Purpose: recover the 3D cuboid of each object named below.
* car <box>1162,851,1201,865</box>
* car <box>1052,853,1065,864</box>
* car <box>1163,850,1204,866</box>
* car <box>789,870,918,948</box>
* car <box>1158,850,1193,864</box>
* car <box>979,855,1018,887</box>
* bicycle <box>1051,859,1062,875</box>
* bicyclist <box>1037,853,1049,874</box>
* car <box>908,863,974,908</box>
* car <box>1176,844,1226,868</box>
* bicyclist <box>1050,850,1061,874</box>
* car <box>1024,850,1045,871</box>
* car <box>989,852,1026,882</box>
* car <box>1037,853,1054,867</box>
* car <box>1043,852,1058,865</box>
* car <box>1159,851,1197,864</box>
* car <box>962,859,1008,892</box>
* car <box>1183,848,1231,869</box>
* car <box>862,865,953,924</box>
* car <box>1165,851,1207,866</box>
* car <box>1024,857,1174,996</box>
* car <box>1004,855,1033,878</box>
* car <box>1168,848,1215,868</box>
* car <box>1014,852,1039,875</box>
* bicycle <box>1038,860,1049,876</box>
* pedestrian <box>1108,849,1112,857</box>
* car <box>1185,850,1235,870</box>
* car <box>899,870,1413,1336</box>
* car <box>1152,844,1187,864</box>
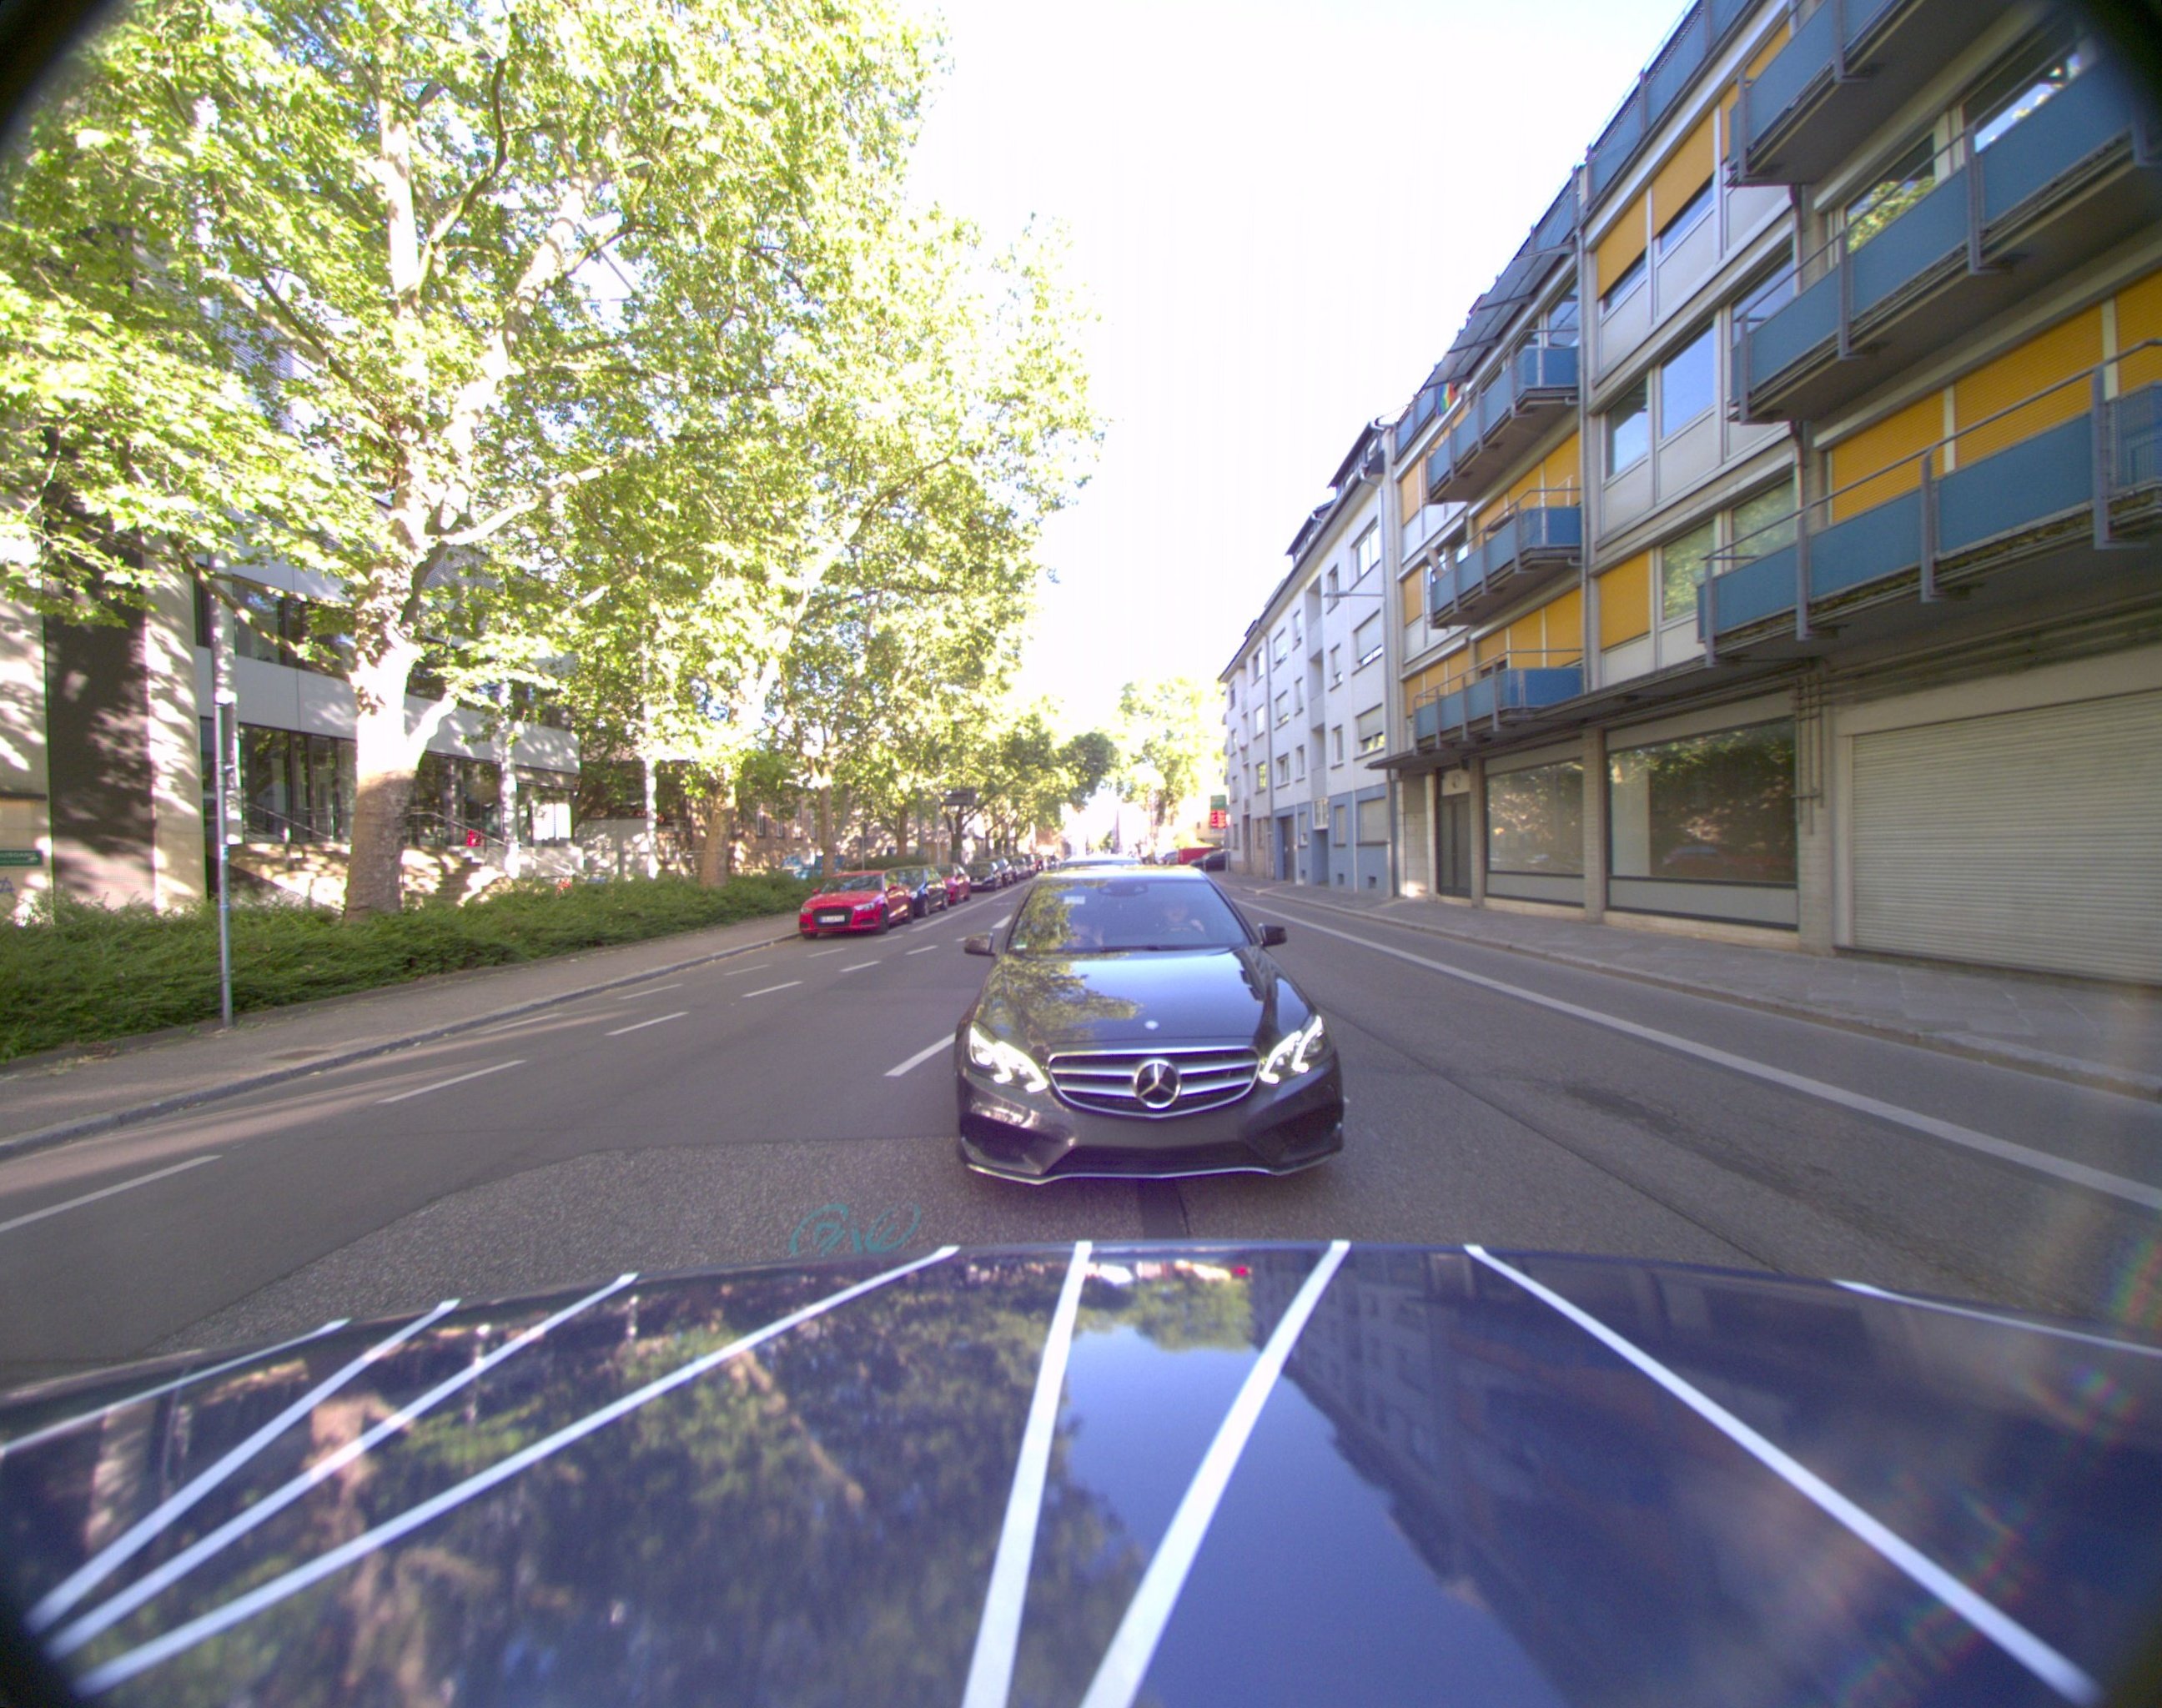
[{"bbox_3d":[10.508,0.402,79.808,3.905,1.325,1.525,-2,1,2],"label":"car"},{"bbox_3d":[-3.144,0.612,106.892,1.686,1.475,3.836,-2,0,0],"label":"car"},{"bbox_3d":[10.393,0.404,77.054,3.905,1.366,1.594,-2,1,2],"label":"car"},{"bbox_3d":[-5.132,1.181,17.724,1.724,1.412,4.030,-4,0,-1],"label":"car"},{"bbox_3d":[10.528,0.306,84.882,3.782,1.432,1.539,-2,1,2],"label":"car"},{"bbox_3d":[-4.542,0.892,42.127,1.686,1.610,3.836,-2,0,0],"label":"car"},{"bbox_3d":[-1.813,0.946,56.268,0.667,1.093,1.814,-2,1,0],"label":"bicycle"},{"bbox_3d":[-2.830,0.715,56.684,0.756,1.512,0.768,-2,1,-1],"label":"bicyclist"},{"bbox_3d":[-5.012,1.083,27.668,1.666,1.426,3.781,-2,0,0],"label":"car"},{"bbox_3d":[10.065,0.145,64.045,3.905,1.895,1.749,-2,1,2],"label":"car"},{"bbox_3d":[-1.861,0.567,56.178,0.756,1.714,0.768,-2,1,-1],"label":"bicyclist"},{"bbox_3d":[-4.262,0.564,70.290,1.646,1.839,3.836,-2,0,0],"label":"car"},{"bbox_3d":[-4.600,0.754,48.253,1.819,1.758,4.431,-2,0,0],"label":"car"},{"bbox_3d":[-4.065,0.714,87.126,1.639,1.493,3.752,-2,0,0],"label":"car"},{"bbox_3d":[-3.805,0.564,95.749,1.686,1.546,3.836,-2,0,0],"label":"car"},{"bbox_3d":[10.517,0.374,82.197,3.905,1.325,1.525,-2,1,2],"label":"car"},{"bbox_3d":[-4.670,1.033,37.468,1.686,1.443,4.000,-2,0,0],"label":"car"},{"bbox_3d":[10.120,0.338,61.201,3.668,1.501,1.602,-2,1,2],"label":"car"},{"bbox_3d":[-5.014,1.119,22.483,1.686,1.458,4.000,-3,0,0],"label":"car"},{"bbox_3d":[10.362,0.428,75.032,3.905,1.366,1.594,-2,1,2],"label":"car"},{"bbox_3d":[0.208,0.881,11.245,1.732,1.538,4.293,-2,1,0],"label":"car"},{"bbox_3d":[-4.433,0.855,54.576,1.686,1.553,3.868,-2,0,0],"label":"car"},{"bbox_3d":[9.706,0.309,66.841,3.905,1.577,1.603,-2,1,2],"label":"car"},{"bbox_3d":[-4.225,0.732,59.433,1.663,1.704,3.836,-2,0,0],"label":"car"},{"bbox_3d":[-2.809,1.035,56.696,0.667,1.093,1.814,-2,1,0],"label":"bicycle"},{"bbox_3d":[7.381,-0.286,193.810,0.884,2.108,0.821,-2,1,1],"label":"pedestrian"},{"bbox_3d":[9.952,0.439,58.796,3.598,1.401,1.534,-2,0,2],"label":"car"},{"bbox_3d":[0.271,0.959,4.921,1.828,1.495,4.293,-2,1,0],"label":"car"},{"bbox_3d":[10.388,-0.004,89.374,3.905,2.164,1.725,-2,1,2],"label":"car"}]
